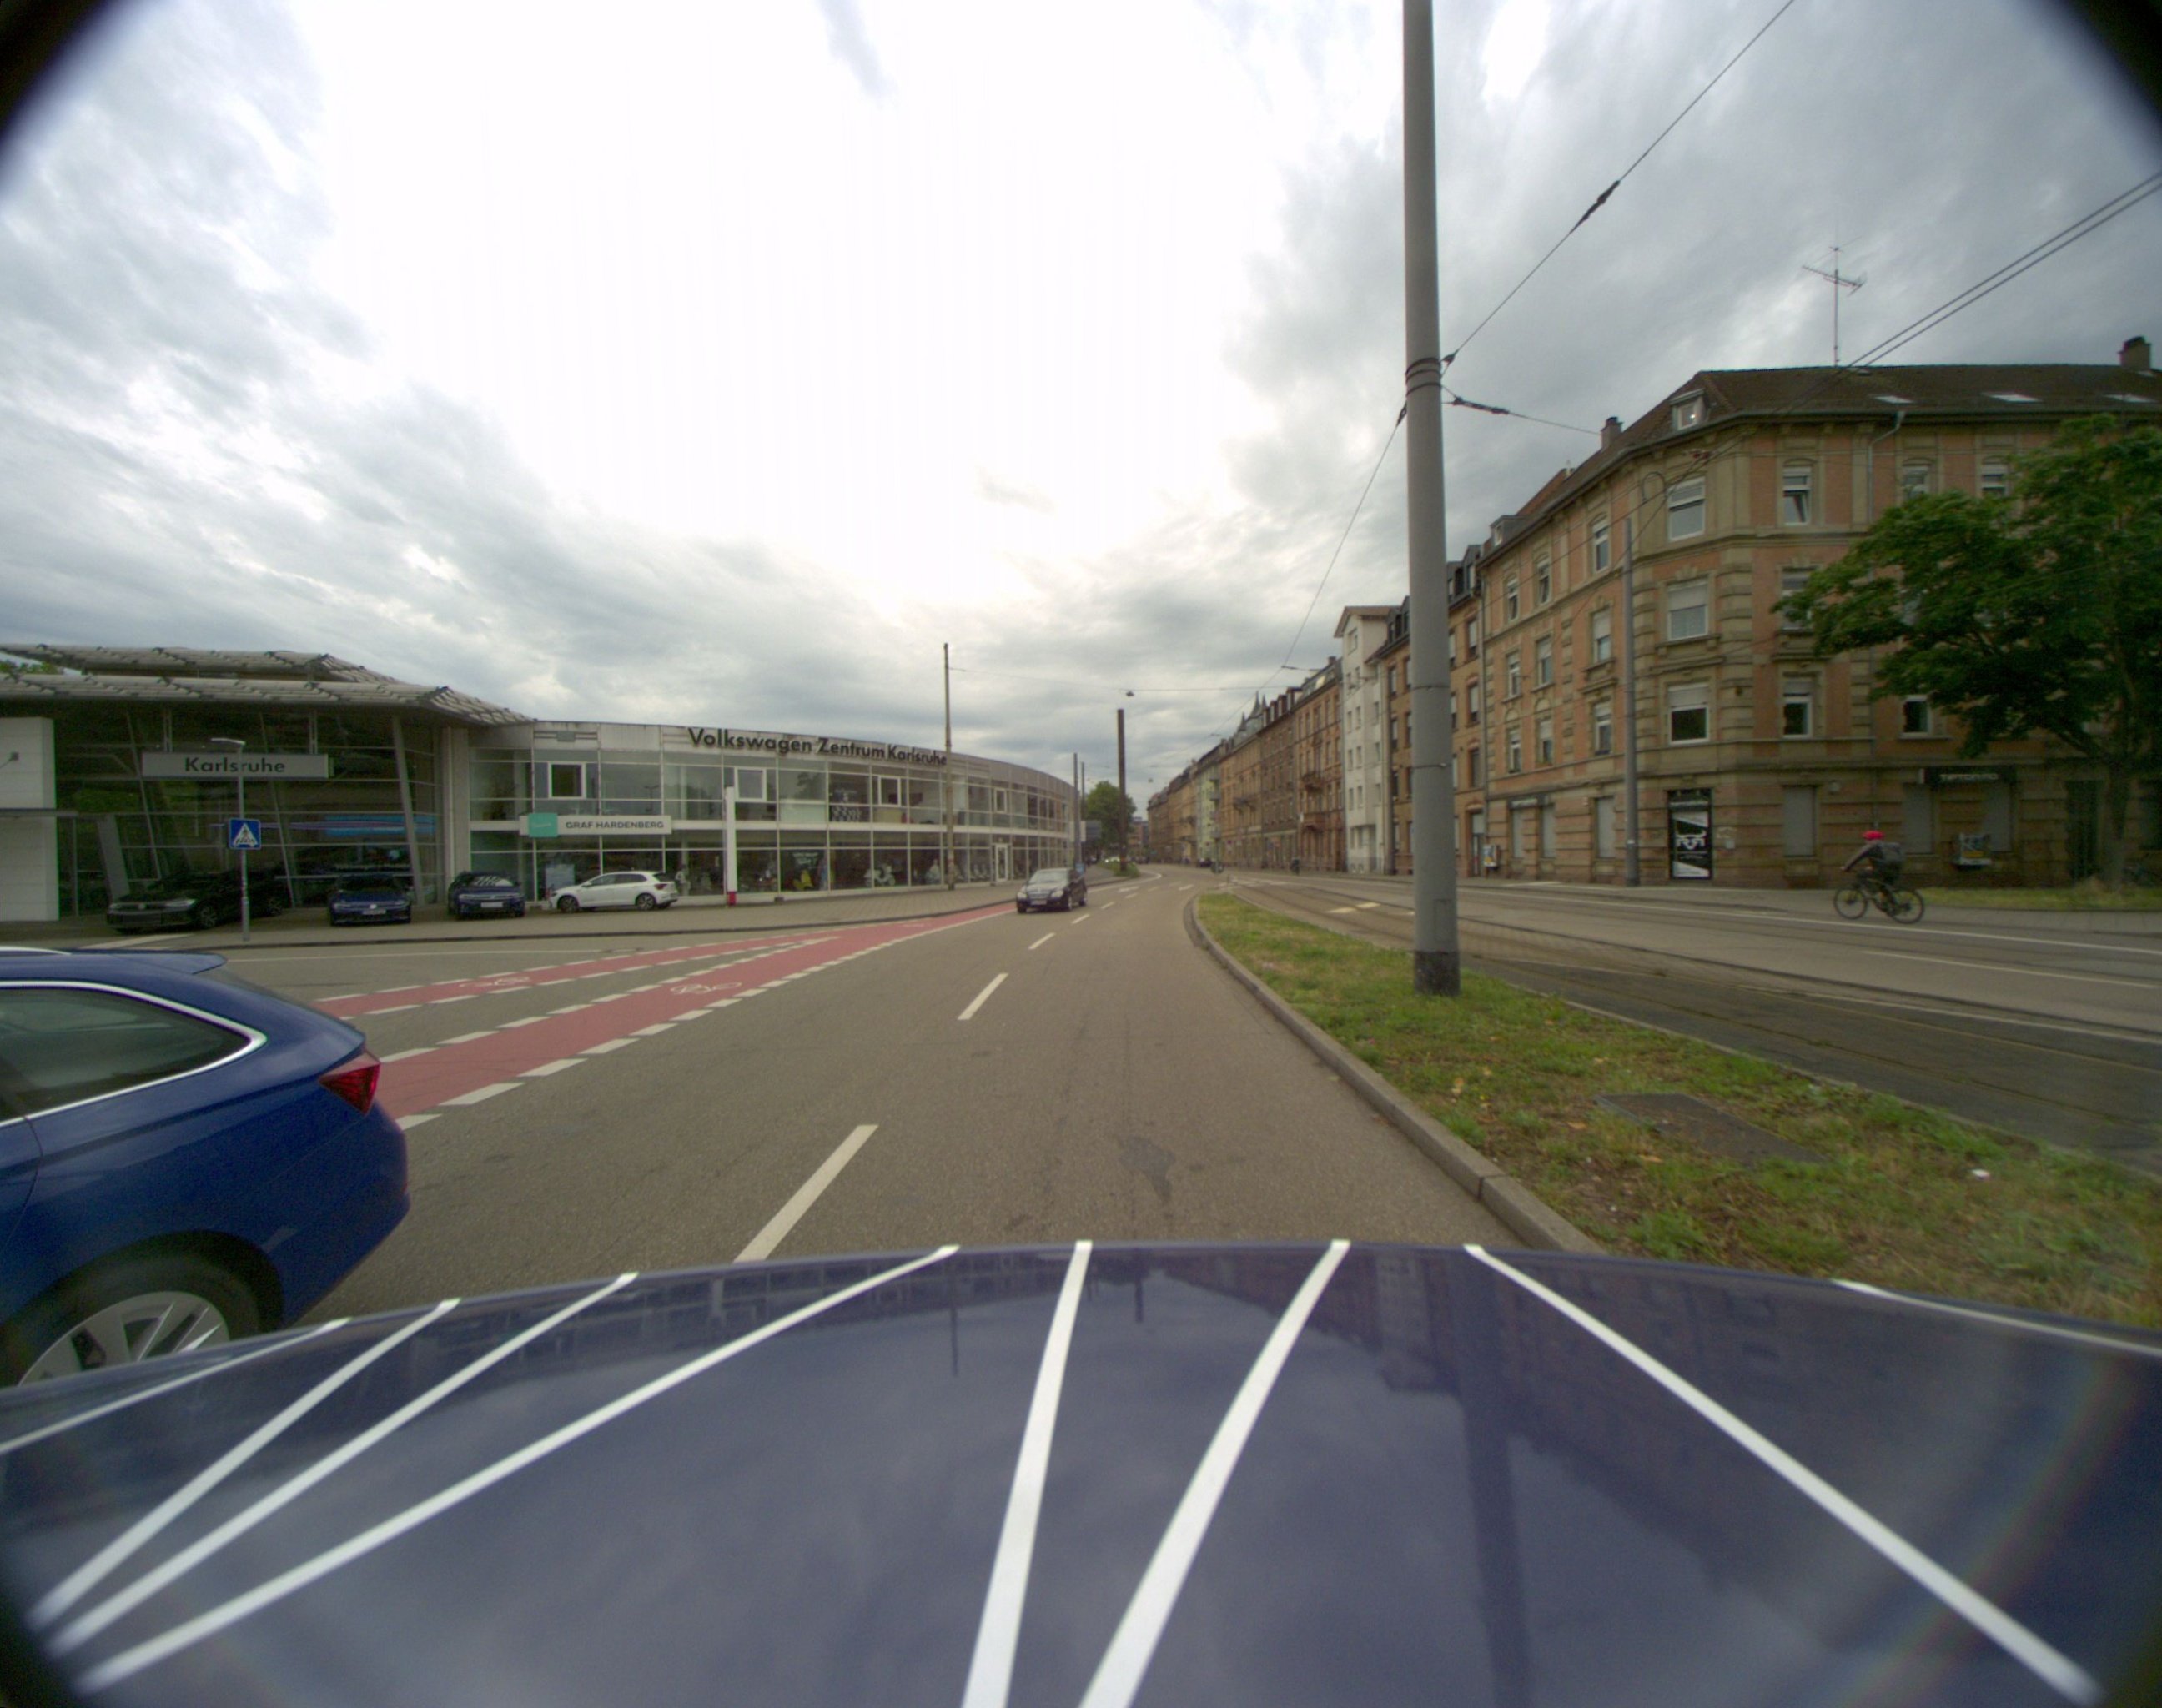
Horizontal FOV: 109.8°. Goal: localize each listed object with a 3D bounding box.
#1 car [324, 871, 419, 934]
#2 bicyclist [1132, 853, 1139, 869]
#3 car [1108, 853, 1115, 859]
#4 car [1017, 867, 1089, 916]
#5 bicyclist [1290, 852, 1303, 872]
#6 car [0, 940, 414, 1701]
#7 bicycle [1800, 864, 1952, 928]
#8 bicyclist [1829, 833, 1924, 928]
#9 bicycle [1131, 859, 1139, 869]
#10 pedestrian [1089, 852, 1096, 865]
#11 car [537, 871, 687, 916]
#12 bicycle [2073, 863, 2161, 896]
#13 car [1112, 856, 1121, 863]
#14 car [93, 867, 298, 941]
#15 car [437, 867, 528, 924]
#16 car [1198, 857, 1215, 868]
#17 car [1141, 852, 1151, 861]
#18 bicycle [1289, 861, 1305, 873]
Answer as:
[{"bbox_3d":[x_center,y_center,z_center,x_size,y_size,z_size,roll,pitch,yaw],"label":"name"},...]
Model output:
[{"bbox_3d":[-22.203,1.426,23.739,4.325,1.496,1.862,3,3,43],"label":"car"},{"bbox_3d":[6.136,0.789,85.973,0.730,1.747,0.911,-1,1,7],"label":"bicyclist"},{"bbox_3d":[7.880,0.575,198.050,1.802,1.630,4.230,-1,0,1],"label":"car"},{"bbox_3d":[-0.861,1.201,25.676,1.713,1.413,4.072,-1,0,8],"label":"car"},{"bbox_3d":[16.331,0.592,57.605,0.663,1.485,0.942,-2,0,-3],"label":"bicyclist"},{"bbox_3d":[-3.182,1.063,0.331,1.784,1.480,4.465,-1,1,0],"label":"car"},{"bbox_3d":[16.195,0.806,15.592,0.826,1.201,2.234,0,0,2],"label":"bicycle"},{"bbox_3d":[16.195,0.523,15.498,0.831,1.880,1.049,0,0,1],"label":"bicyclist"},{"bbox_3d":[6.134,1.129,85.952,0.727,1.003,2.177,-1,0,7],"label":"bicycle"},{"bbox_3d":[1.614,0.605,106.912,0.871,1.843,0.706,-1,1,1],"label":"pedestrian"},{"bbox_3d":[-16.998,1.400,27.733,4.263,1.444,1.782,-2,0,-9],"label":"car"},{"bbox_3d":[30.386,0.730,22.002,0.662,0.909,1.990,-1,-2,-2],"label":"bicycle"},{"bbox_3d":[8.249,1.250,176.557,1.802,1.630,4.230,-1,0,1],"label":"car"},{"bbox_3d":[-26.510,1.407,23.040,1.862,1.624,4.500,-3,4,-18],"label":"car"},{"bbox_3d":[-20.229,1.312,25.610,1.905,1.554,4.207,-2,3,-45],"label":"car"},{"bbox_3d":[16.940,1.129,102.737,1.852,1.471,3.828,-1,0,3],"label":"car"},{"bbox_3d":[12.946,0.442,151.451,1.802,1.630,4.230,-1,0,1],"label":"car"},{"bbox_3d":[16.335,0.964,57.583,0.607,0.910,1.719,-2,0,-4],"label":"bicycle"}]
